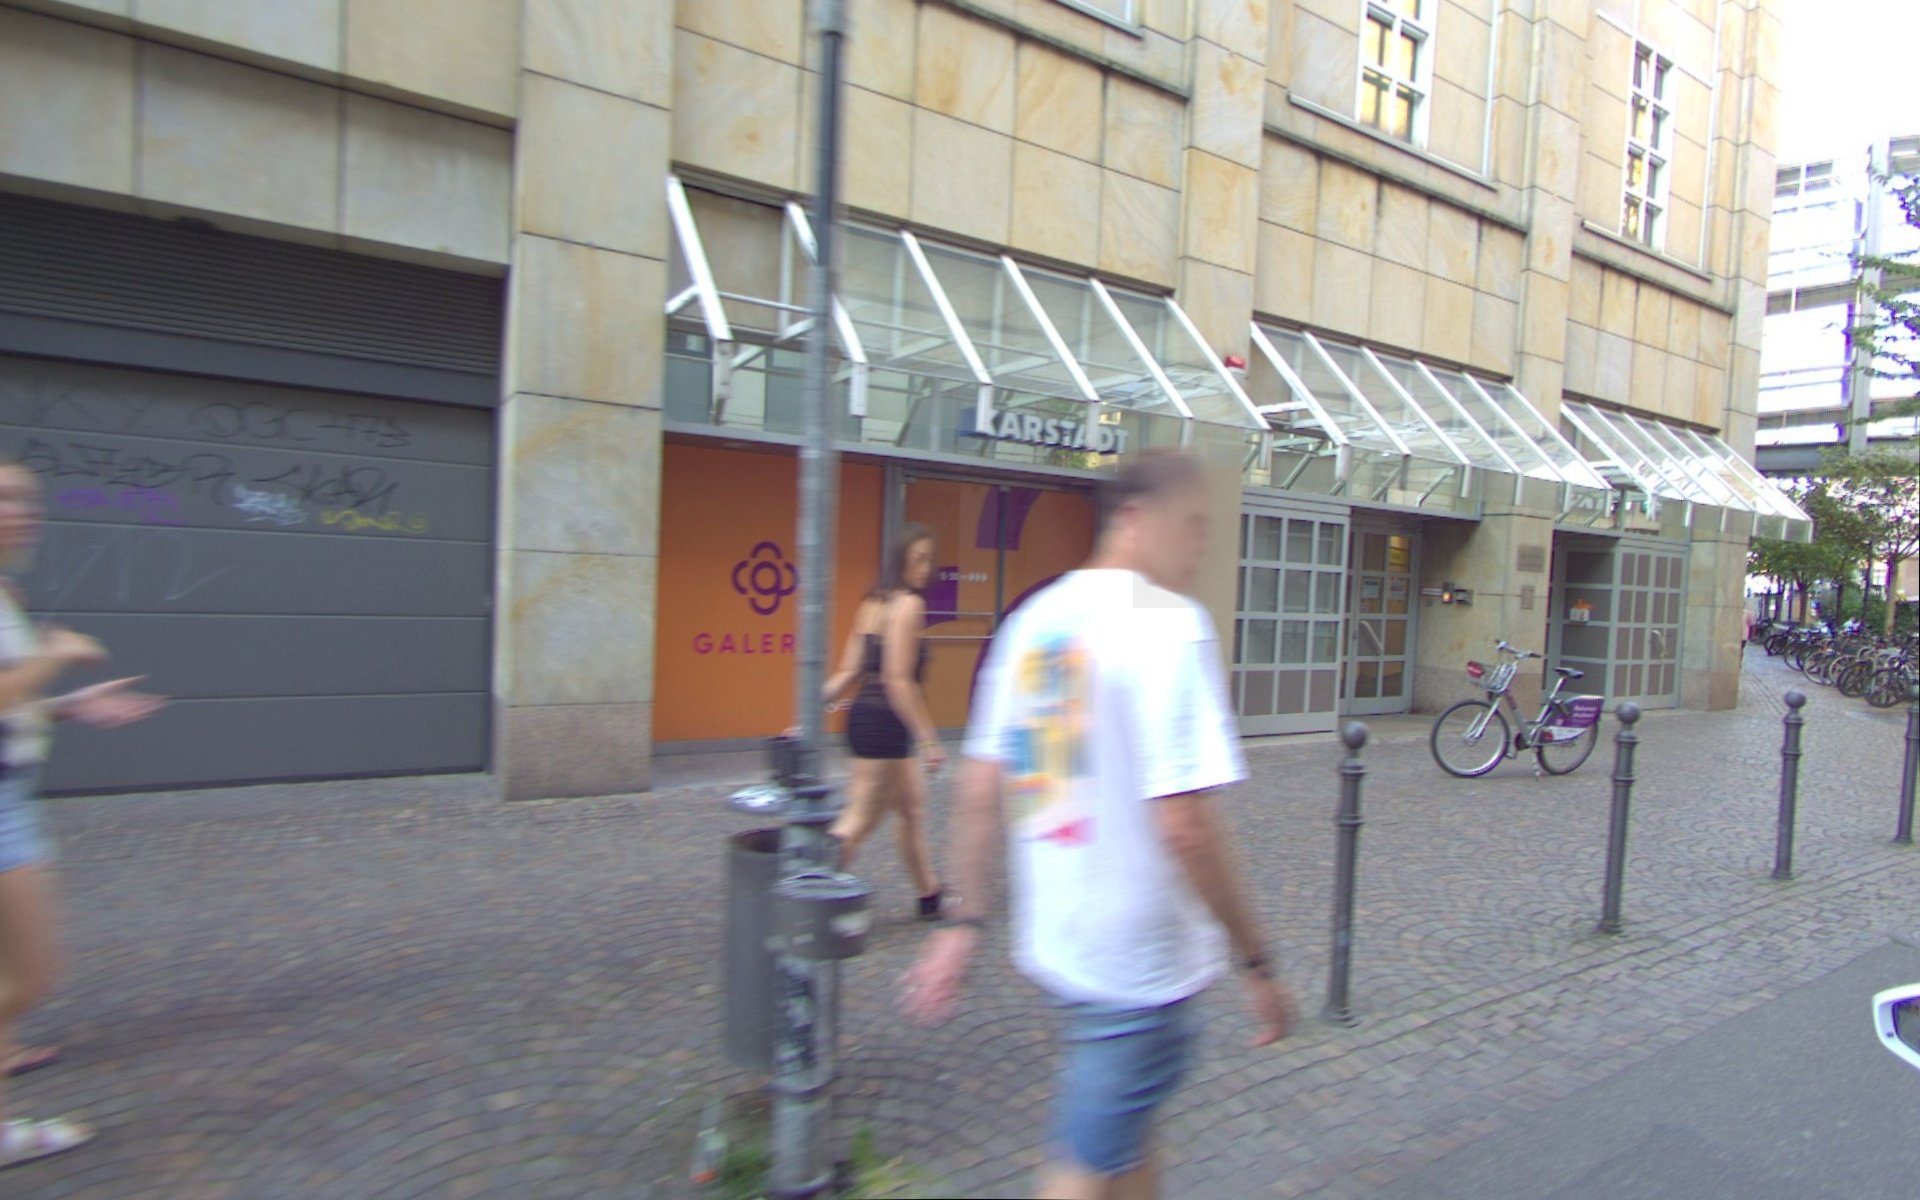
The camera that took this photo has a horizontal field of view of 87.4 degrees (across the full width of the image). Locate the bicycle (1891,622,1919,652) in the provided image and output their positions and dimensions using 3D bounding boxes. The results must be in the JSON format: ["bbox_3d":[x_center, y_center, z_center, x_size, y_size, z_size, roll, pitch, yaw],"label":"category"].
[{"bbox_3d":[40.594,1.594,42.417,1.751,1.206,0.584,3,1,38],"label":"bicycle"}]

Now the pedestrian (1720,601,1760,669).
[{"bbox_3d":[18.979,0.838,24.461,0.688,1.603,0.717,2,1,35],"label":"pedestrian"}]

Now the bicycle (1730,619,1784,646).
[{"bbox_3d":[36.323,1.488,45.809,1.879,1.127,0.479,2,1,36],"label":"bicycle"}]

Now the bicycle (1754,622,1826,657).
[{"bbox_3d":[27.277,1.293,33.036,1.756,1.033,0.479,2,1,36],"label":"bicycle"}]

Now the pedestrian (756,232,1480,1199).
[{"bbox_3d":[0.223,0.522,1.657,0.869,1.847,0.738,1,1,-33],"label":"pedestrian"}]

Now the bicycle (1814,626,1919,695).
[{"bbox_3d":[17.311,1.132,18.861,1.847,1.193,0.532,2,1,36],"label":"bicycle"}]

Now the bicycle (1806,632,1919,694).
[{"bbox_3d":[17.600,1.203,19.387,1.869,1.066,0.532,2,1,36],"label":"bicycle"}]

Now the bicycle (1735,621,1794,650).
[{"bbox_3d":[33.773,1.470,42.201,1.879,1.127,0.479,2,1,36],"label":"bicycle"}]

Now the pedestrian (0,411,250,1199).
[{"bbox_3d":[-2.252,0.487,2.191,0.796,1.753,0.945,3,2,38],"label":"pedestrian"}]

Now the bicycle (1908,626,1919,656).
[{"bbox_3d":[37.198,1.601,38.072,1.752,1.129,0.540,3,1,40],"label":"bicycle"}]

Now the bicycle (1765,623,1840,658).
[{"bbox_3d":[26.890,1.282,32.093,1.756,1.033,0.479,2,1,36],"label":"bicycle"}]

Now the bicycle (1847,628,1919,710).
[{"bbox_3d":[15.412,1.117,16.074,1.743,1.247,0.532,2,1,36],"label":"bicycle"}]

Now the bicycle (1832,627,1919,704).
[{"bbox_3d":[16.125,1.126,17.255,1.632,1.247,0.532,2,1,36],"label":"bicycle"}]

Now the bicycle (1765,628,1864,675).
[{"bbox_3d":[21.297,1.263,25.076,1.800,1.057,0.532,2,1,36],"label":"bicycle"}]

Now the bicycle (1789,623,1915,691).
[{"bbox_3d":[17.885,1.115,20.191,1.809,1.241,0.532,2,1,36],"label":"bicycle"}]

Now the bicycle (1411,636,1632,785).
[{"bbox_3d":[4.717,0.906,8.438,1.736,1.153,0.521,2,1,-17],"label":"bicycle"}]

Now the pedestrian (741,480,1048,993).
[{"bbox_3d":[-0.283,0.485,4.147,0.962,1.819,0.780,1,1,-33],"label":"pedestrian"}]

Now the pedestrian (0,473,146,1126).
[{"bbox_3d":[-2.806,0.505,2.672,0.666,1.687,0.857,3,2,37],"label":"pedestrian"}]

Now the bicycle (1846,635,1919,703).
[{"bbox_3d":[16.905,1.230,17.726,1.812,1.137,0.532,2,1,36],"label":"bicycle"}]

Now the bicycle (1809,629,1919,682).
[{"bbox_3d":[20.607,1.249,22.896,1.852,1.057,0.532,2,1,36],"label":"bicycle"}]
